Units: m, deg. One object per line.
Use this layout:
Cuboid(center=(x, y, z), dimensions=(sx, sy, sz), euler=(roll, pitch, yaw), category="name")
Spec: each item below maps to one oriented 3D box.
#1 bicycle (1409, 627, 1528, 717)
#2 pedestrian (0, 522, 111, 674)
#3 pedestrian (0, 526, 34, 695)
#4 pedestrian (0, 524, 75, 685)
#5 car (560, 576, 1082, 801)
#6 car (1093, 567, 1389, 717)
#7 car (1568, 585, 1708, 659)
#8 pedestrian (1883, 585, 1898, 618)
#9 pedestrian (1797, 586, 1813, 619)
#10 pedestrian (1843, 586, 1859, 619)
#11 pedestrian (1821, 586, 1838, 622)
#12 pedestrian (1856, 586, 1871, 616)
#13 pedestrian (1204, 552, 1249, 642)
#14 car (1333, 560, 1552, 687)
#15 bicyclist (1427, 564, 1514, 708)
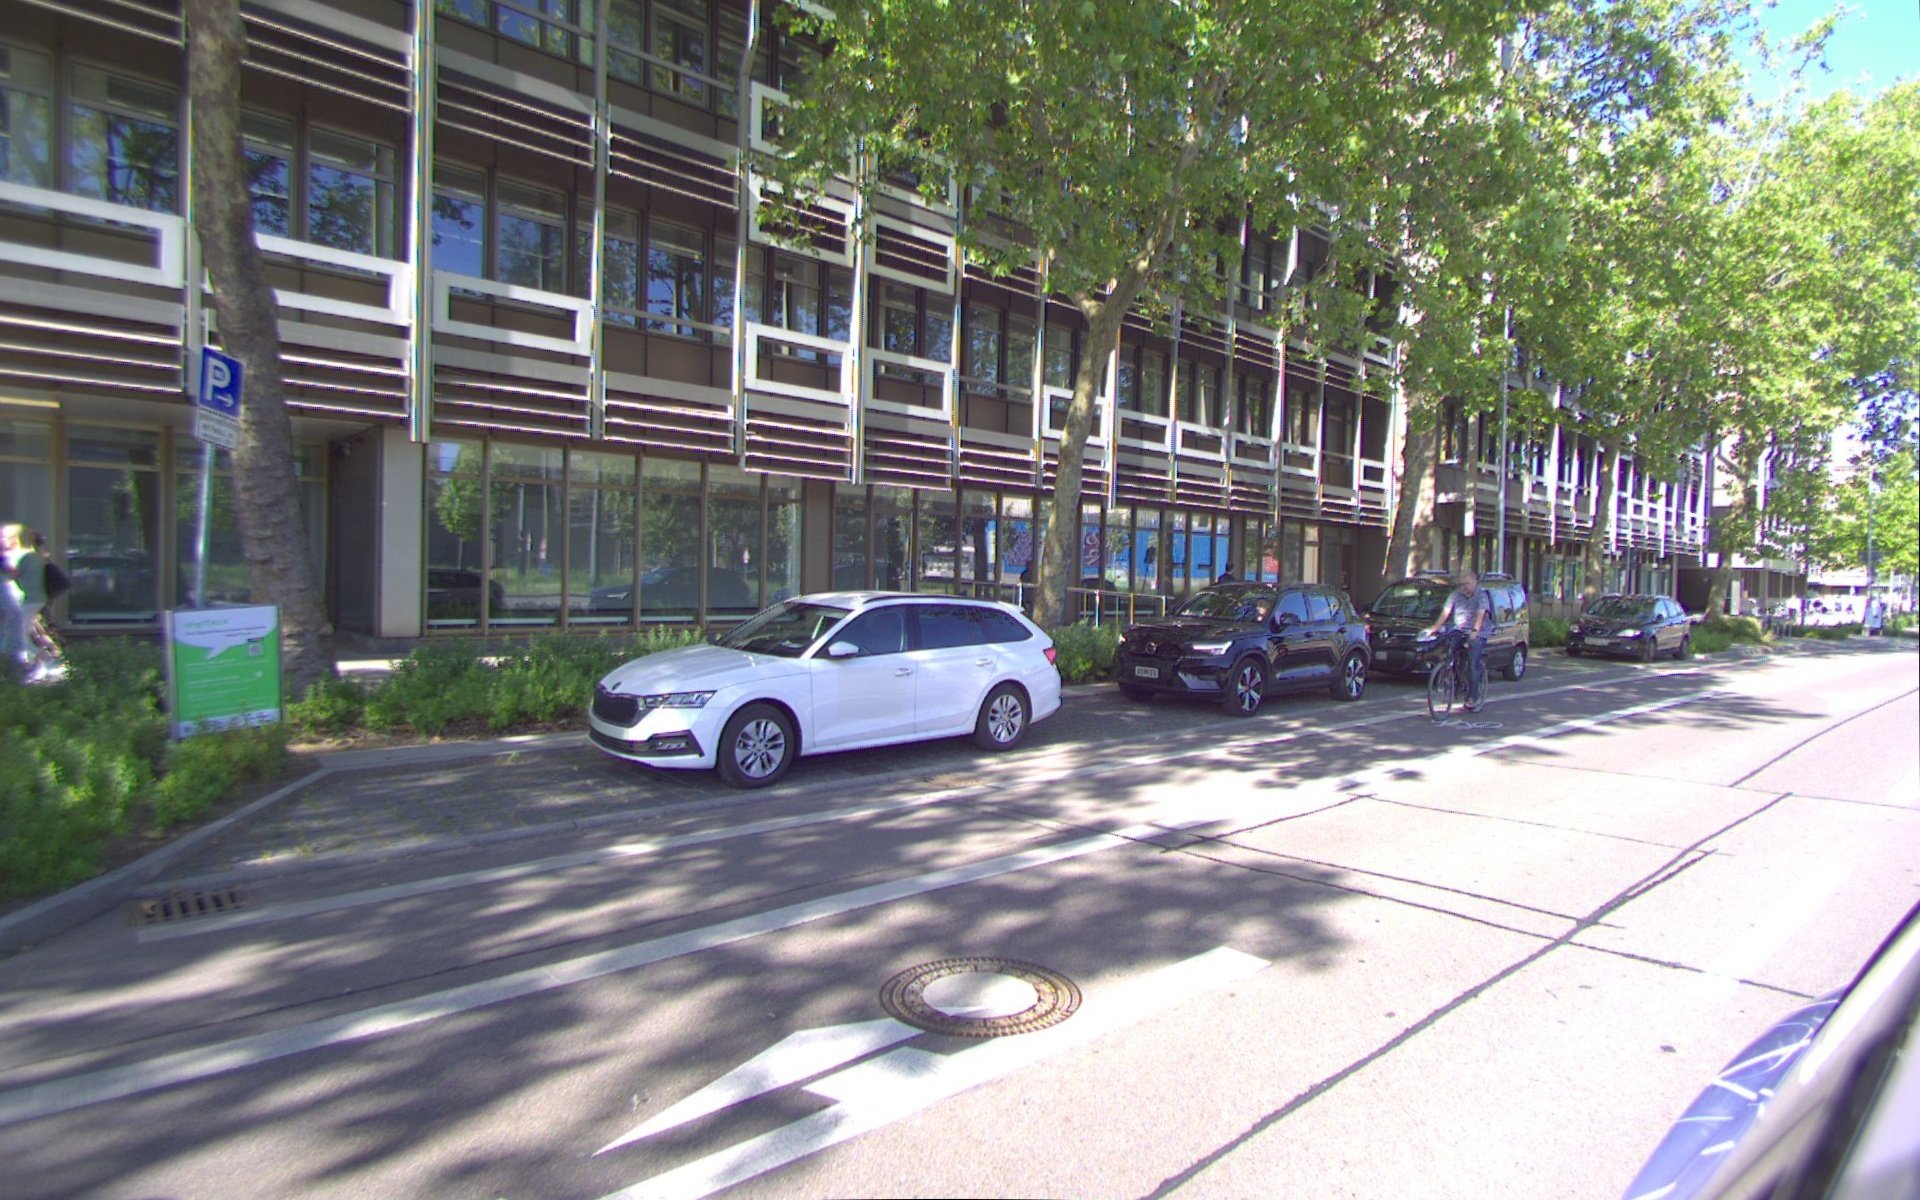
Cuboid(center=(6.369, 0.857, 12.637), dimensions=(1.891, 1.006, 0.710), euler=(1, -1, -43), category="bicycle")
Cuboid(center=(-10.179, -0.034, 11.345), dimensions=(0.991, 1.620, 0.668), euler=(1, 3, -41), category="pedestrian")
Cuboid(center=(-9.532, 0.086, 9.859), dimensions=(0.715, 1.620, 0.668), euler=(1, 3, -40), category="pedestrian")
Cuboid(center=(-9.785, 0.035, 10.629), dimensions=(0.715, 1.620, 0.668), euler=(1, 3, -40), category="pedestrian")
Cuboid(center=(-1.063, 0.613, 9.232), dimensions=(4.481, 1.508, 1.751), euler=(0, 3, -42), category="car")
Cuboid(center=(3.874, 0.466, 13.564), dimensions=(4.262, 1.653, 1.751), euler=(0, 3, -42), category="car")
Cuboid(center=(16.582, 0.495, 24.667), dimensions=(4.262, 1.573, 1.751), euler=(0, 3, -42), category="car")
Cuboid(center=(54.542, 0.085, 59.330), dimensions=(0.559, 1.863, 0.591), euler=(1, 0, -41), category="pedestrian")
Cuboid(center=(47.678, 0.131, 57.104), dimensions=(0.685, 1.863, 0.591), euler=(1, 0, -42), category="pedestrian")
Cuboid(center=(50.715, 0.140, 57.616), dimensions=(0.559, 1.863, 0.591), euler=(1, 0, -41), category="pedestrian")
Cuboid(center=(46.317, 0.208, 53.902), dimensions=(0.684, 1.863, 0.591), euler=(1, 0, -42), category="pedestrian")
Cuboid(center=(56.277, 0.055, 63.047), dimensions=(0.559, 1.863, 0.591), euler=(1, 0, -41), category="pedestrian")
Cuboid(center=(6.145, -0.076, 23.350), dimensions=(0.615, 2.039, 0.741), euler=(1, 0, -40), category="pedestrian")
Cuboid(center=(8.259, 0.337, 17.157), dimensions=(4.262, 1.843, 1.751), euler=(0, 3, -42), category="car")
Cuboid(center=(6.373, 0.434, 12.638), dimensions=(0.838, 1.709, 0.710), euler=(1, -1, -42), category="bicyclist")
